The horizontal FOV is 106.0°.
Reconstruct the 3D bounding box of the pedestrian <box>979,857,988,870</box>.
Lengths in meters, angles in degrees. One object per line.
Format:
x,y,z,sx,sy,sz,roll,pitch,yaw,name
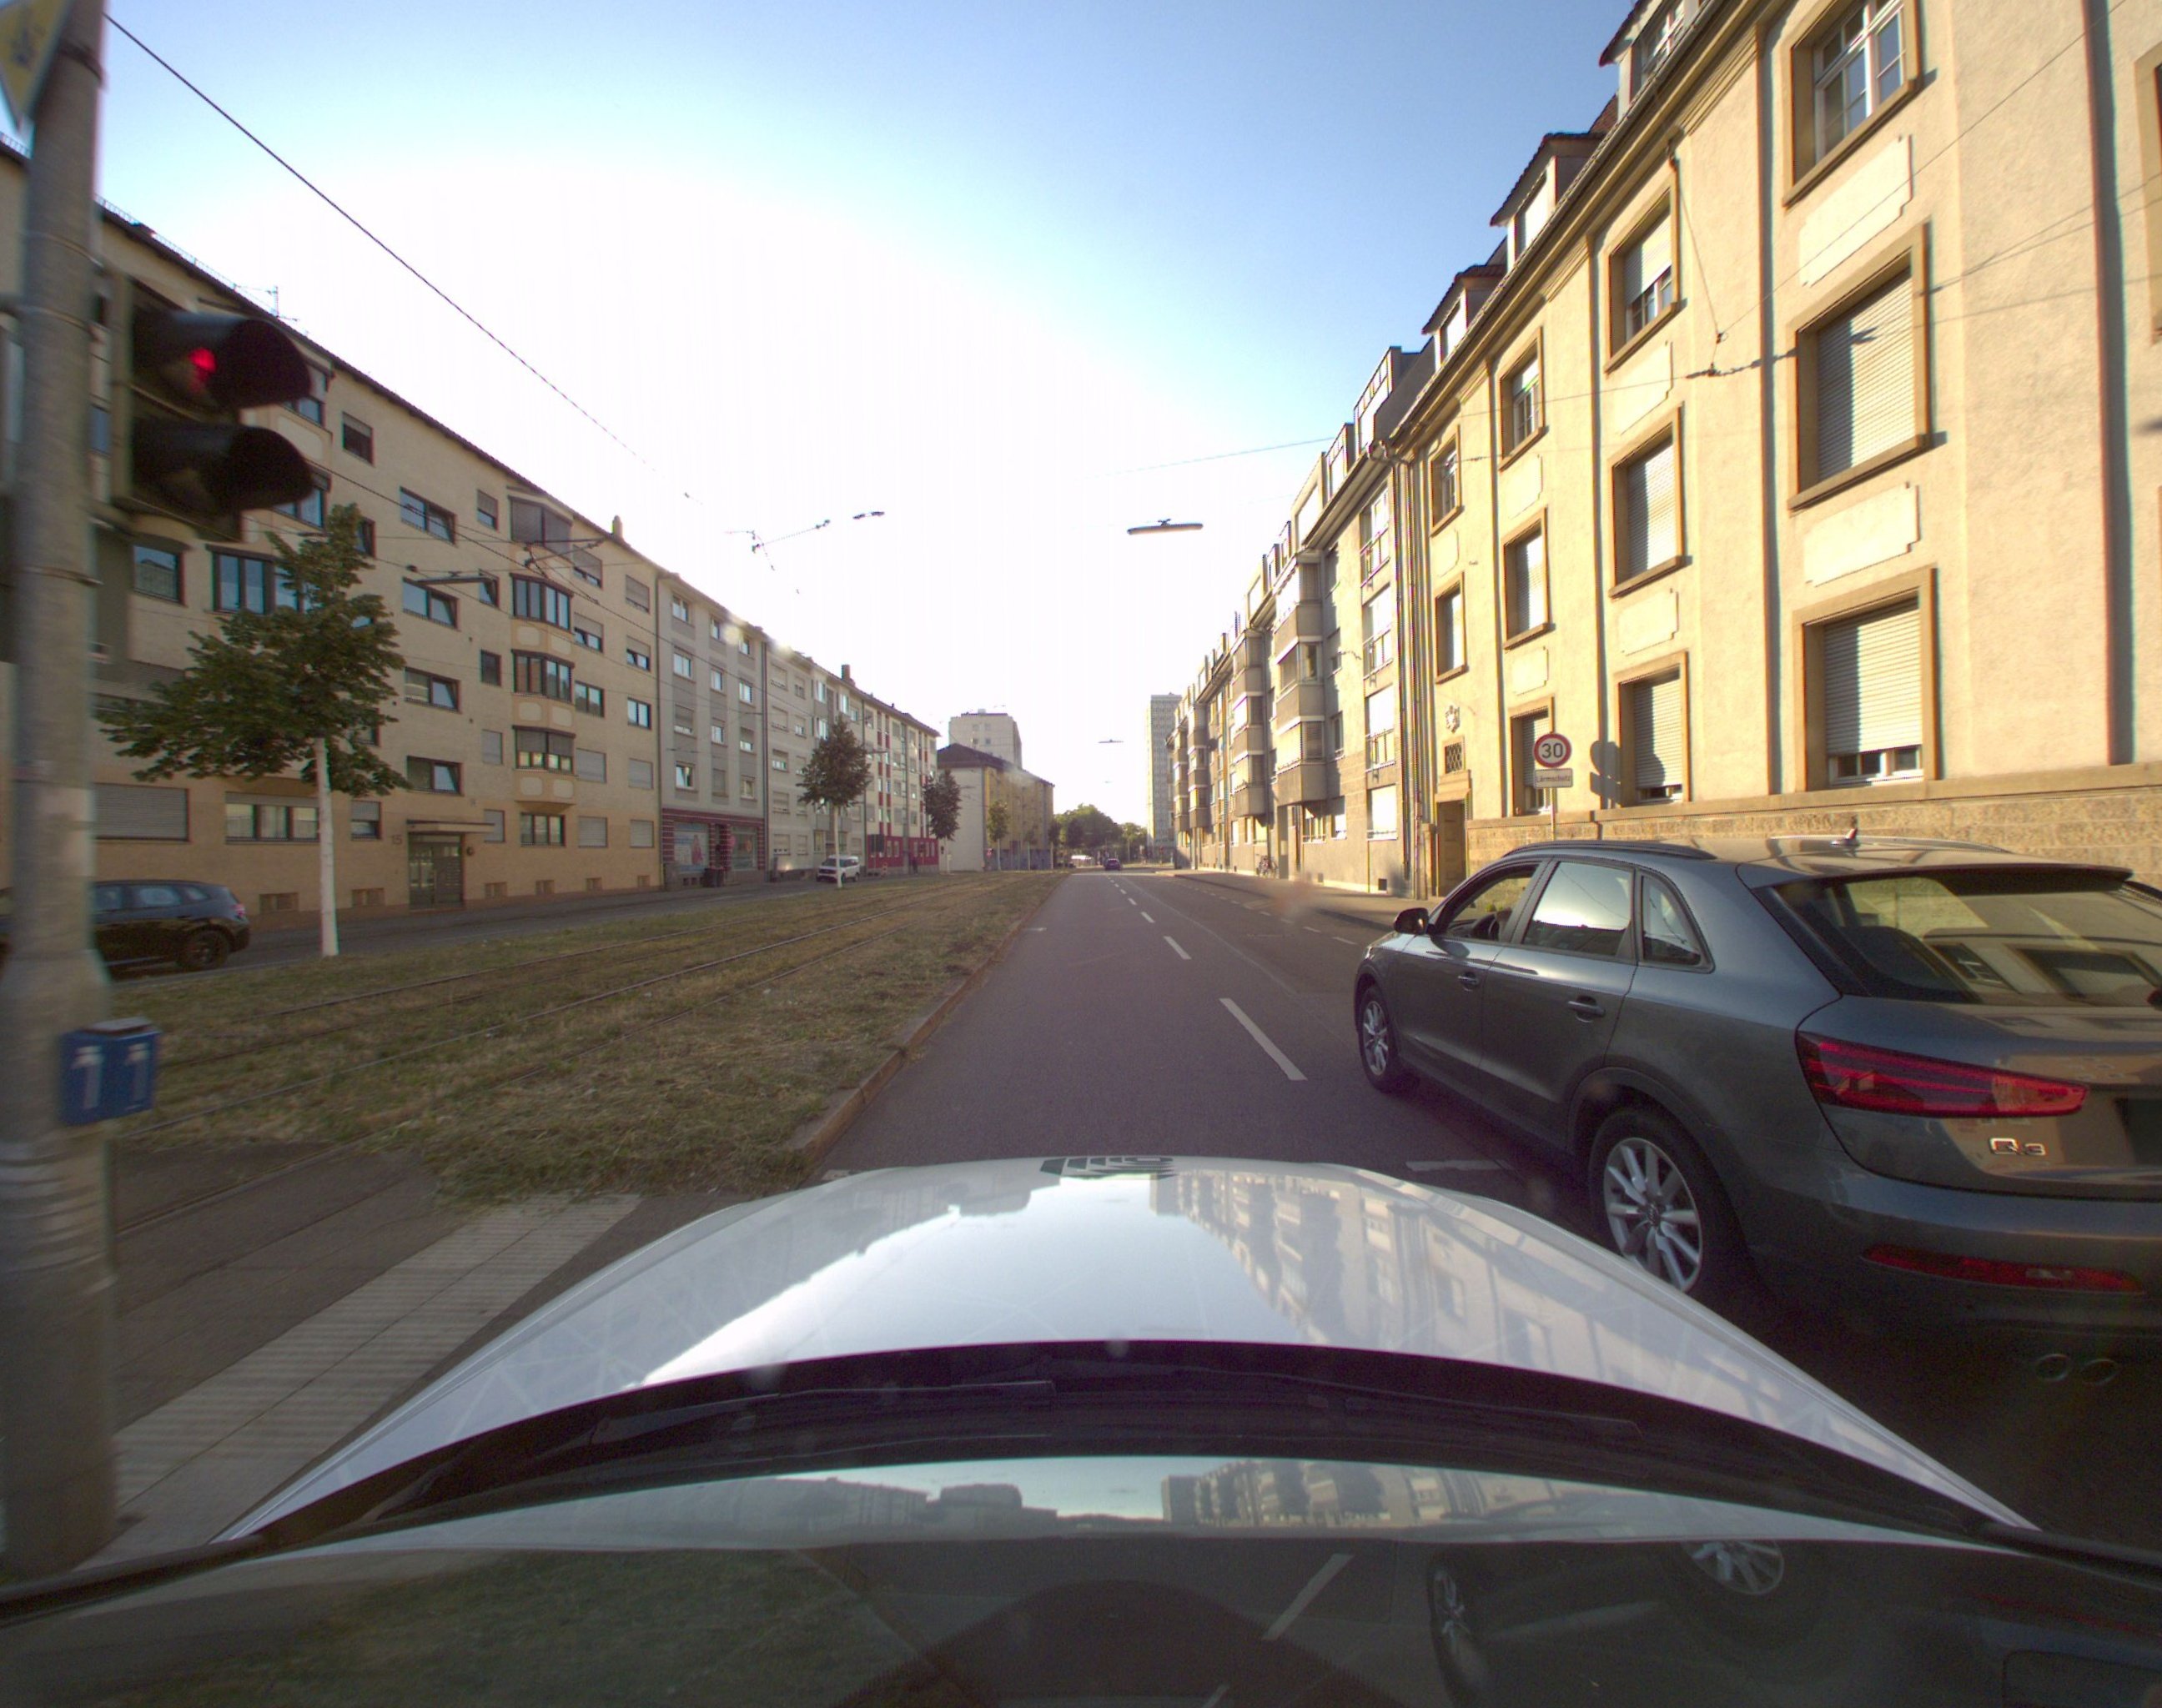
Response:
-13.181,1.275,110.230,0.957,1.694,1.012,0,-1,6,pedestrian

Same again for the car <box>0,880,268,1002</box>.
-16.428,1.337,13.061,1.890,1.633,4.748,-2,0,1,car

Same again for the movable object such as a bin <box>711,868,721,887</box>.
-19.504,1.257,43.512,0.297,1.036,0.441,0,-1,0,movable object such as a bin

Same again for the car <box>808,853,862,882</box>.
-16.918,0.899,56.236,1.984,1.925,4.547,0,-1,4,car

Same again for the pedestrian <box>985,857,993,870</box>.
-12.443,1.283,110.057,0.957,1.670,1.012,0,-1,6,pedestrian

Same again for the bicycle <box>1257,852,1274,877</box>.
8.285,0.480,36.644,0.382,1.096,1.503,-2,-1,-1,bicycle

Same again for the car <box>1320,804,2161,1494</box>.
2.648,0.690,3.978,1.692,1.553,4.224,0,-1,-1,car

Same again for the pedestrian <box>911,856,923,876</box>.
-16.589,1.203,82.410,1.000,2.035,0.887,0,-1,5,pedestrian

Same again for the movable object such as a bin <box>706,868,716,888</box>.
-19.535,1.263,42.994,0.297,1.036,0.441,0,-1,0,movable object such as a bin

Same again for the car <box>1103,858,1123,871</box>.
3.888,1.278,97.331,1.915,1.456,4.337,0,-1,8,car
